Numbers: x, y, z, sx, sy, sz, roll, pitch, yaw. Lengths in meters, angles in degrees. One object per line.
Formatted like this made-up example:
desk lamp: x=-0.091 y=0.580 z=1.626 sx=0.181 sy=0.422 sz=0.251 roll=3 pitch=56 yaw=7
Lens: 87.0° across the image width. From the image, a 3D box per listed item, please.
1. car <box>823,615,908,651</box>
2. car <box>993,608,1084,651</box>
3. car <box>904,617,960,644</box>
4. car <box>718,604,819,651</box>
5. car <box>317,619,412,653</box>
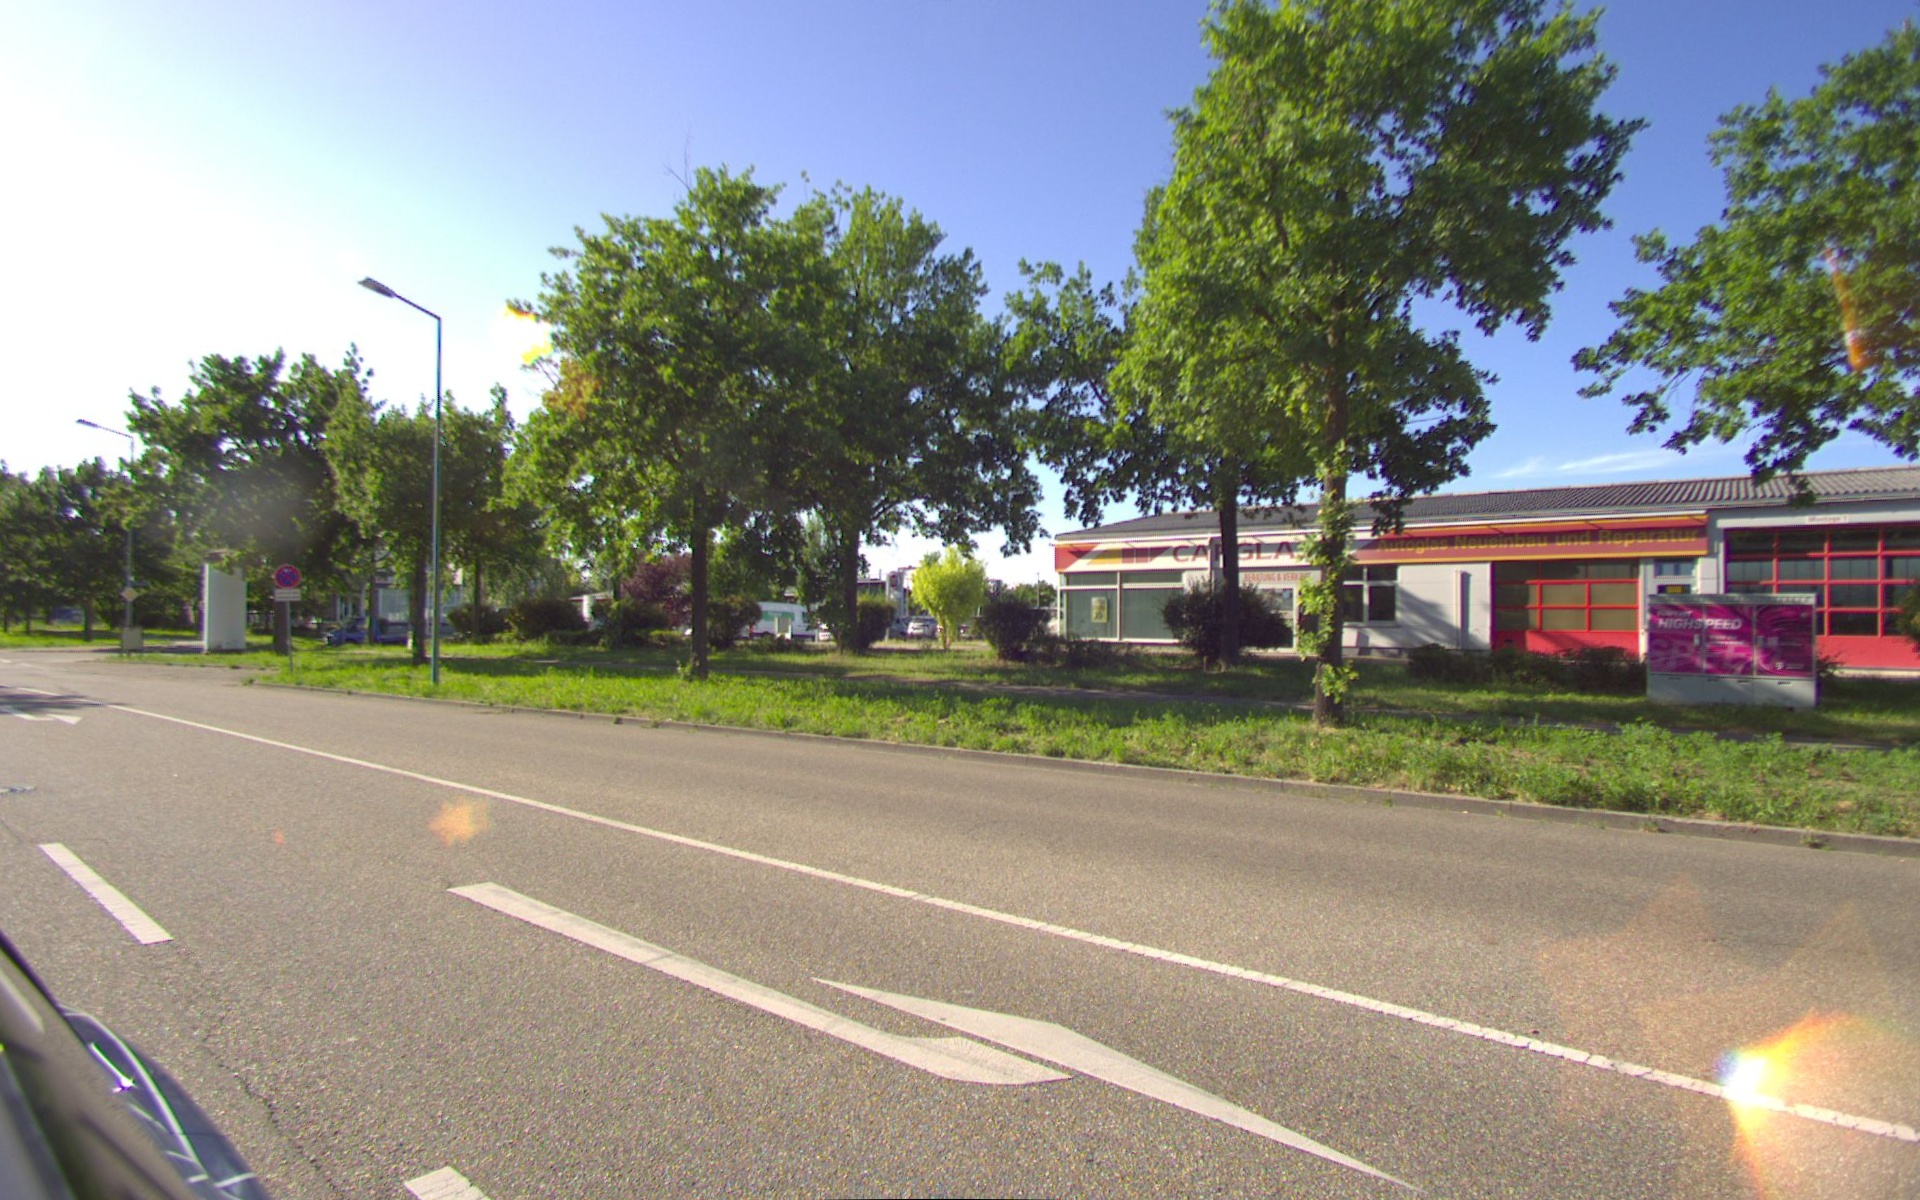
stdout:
car: x=-5.156 y=1.761 z=55.801 sx=1.989 sy=1.795 sz=4.583 roll=-1 pitch=0 yaw=40
car: x=3.203 y=1.151 z=40.617 sx=1.734 sy=1.583 sz=3.769 roll=-3 pitch=-1 yaw=40
car: x=-1.882 y=2.044 z=68.635 sx=1.761 sy=1.684 sz=3.811 roll=-1 pitch=0 yaw=40
car: x=-11.462 y=1.591 z=61.013 sx=2.406 sy=2.574 sz=5.952 roll=-1 pitch=0 yaw=36
car: x=-35.981 y=2.145 z=61.247 sx=1.999 sy=1.847 sz=4.578 roll=-1 pitch=0 yaw=41
